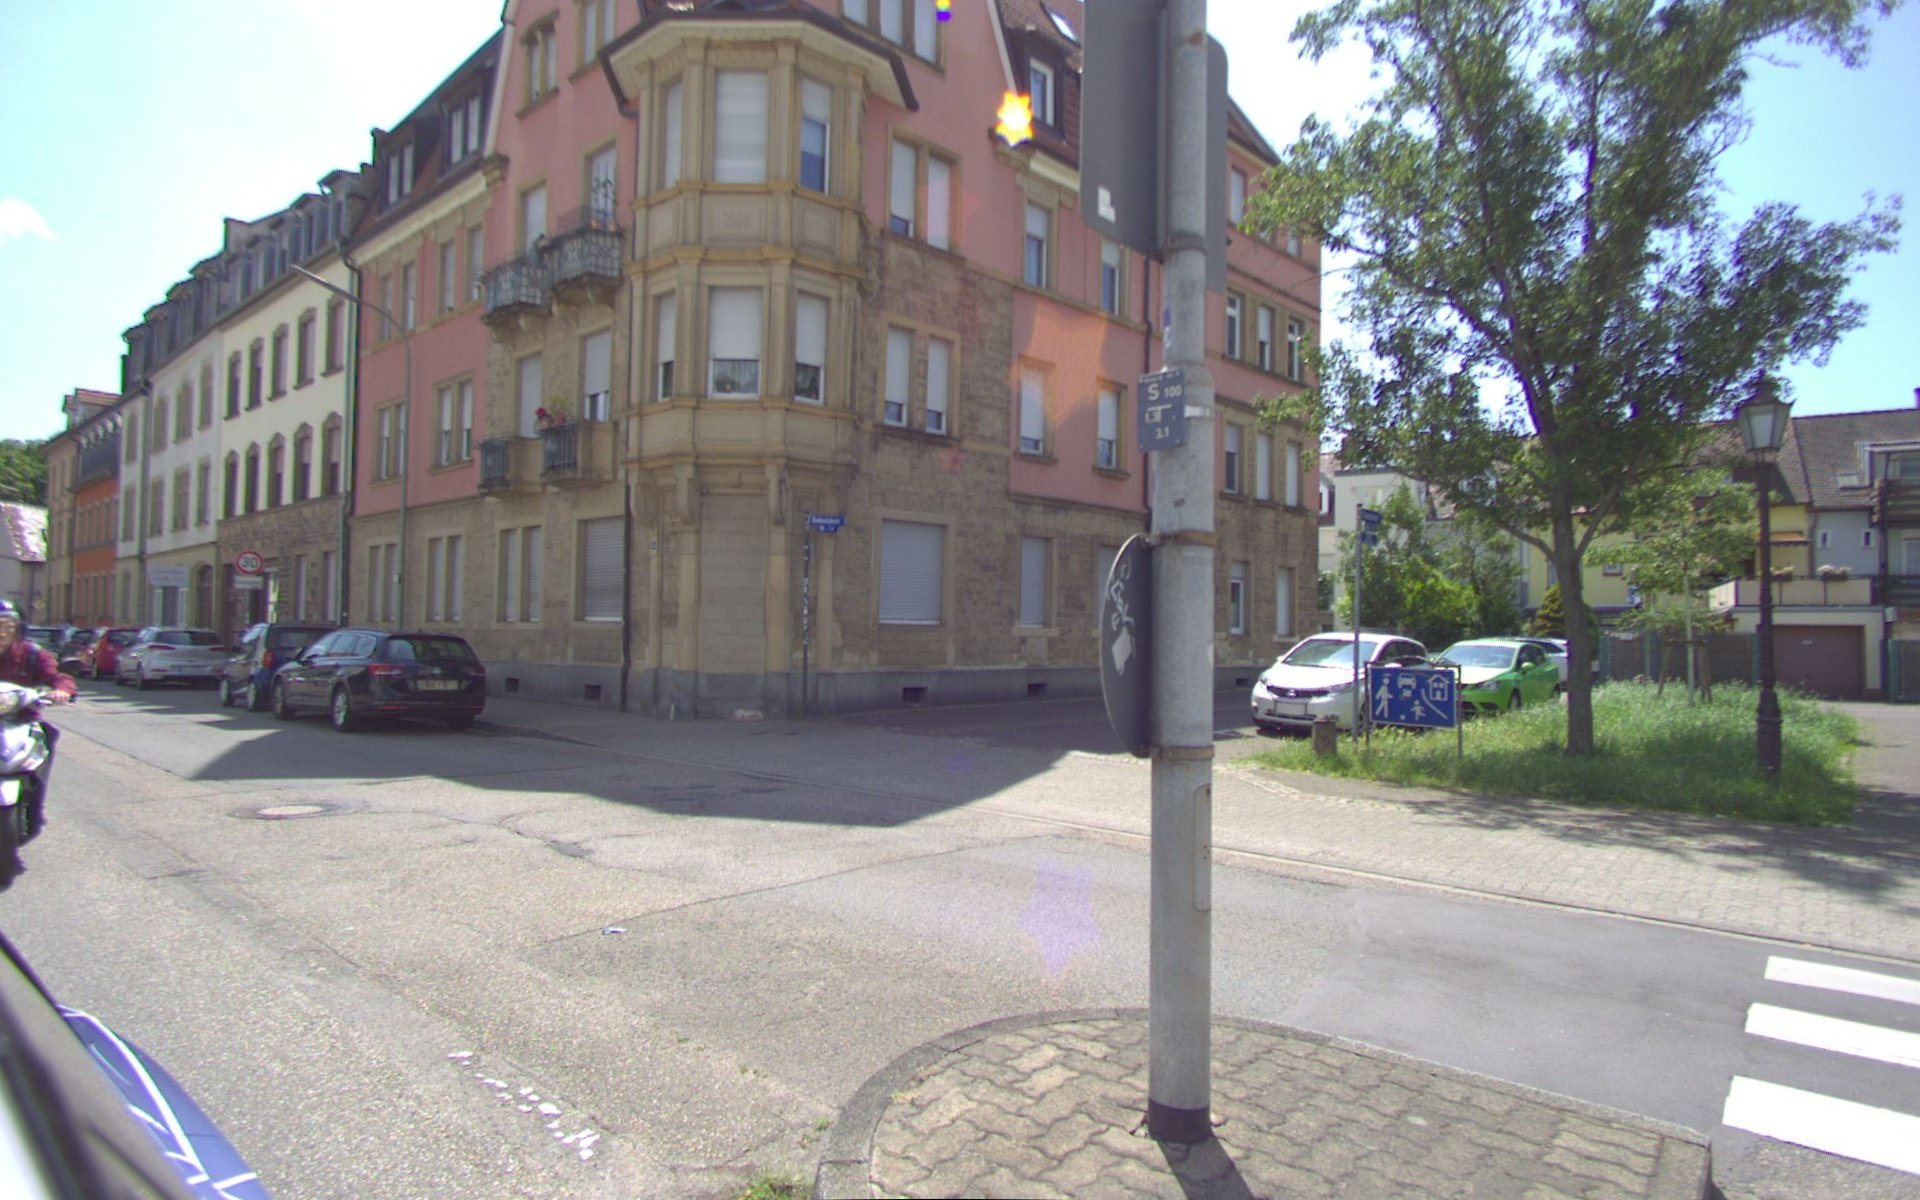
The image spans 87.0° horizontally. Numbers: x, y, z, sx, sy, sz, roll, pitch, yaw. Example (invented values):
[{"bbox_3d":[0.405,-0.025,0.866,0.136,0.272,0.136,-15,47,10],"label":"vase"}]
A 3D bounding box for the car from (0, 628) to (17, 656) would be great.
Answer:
[{"bbox_3d":[-50.484,2.172,52.567,3.854,1.453,1.710,-1,-3,40],"label":"car"}]

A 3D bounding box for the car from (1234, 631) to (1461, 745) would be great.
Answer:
[{"bbox_3d":[6.075,1.247,15.660,1.870,1.514,3.942,-2,-2,44],"label":"car"}]

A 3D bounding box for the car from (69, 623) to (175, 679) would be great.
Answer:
[{"bbox_3d":[-23.419,1.399,28.255,3.491,1.453,1.582,-1,-4,39],"label":"car"}]

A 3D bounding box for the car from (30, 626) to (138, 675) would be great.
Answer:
[{"bbox_3d":[-27.653,1.570,31.904,4.214,1.449,1.854,-1,-3,39],"label":"car"}]

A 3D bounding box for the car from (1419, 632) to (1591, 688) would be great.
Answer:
[{"bbox_3d":[15.872,1.694,29.571,4.275,1.466,1.652,-1,-1,34],"label":"car"}]

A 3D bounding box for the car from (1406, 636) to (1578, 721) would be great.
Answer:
[{"bbox_3d":[10.039,1.431,18.972,1.804,1.409,3.941,-2,-4,44],"label":"car"}]

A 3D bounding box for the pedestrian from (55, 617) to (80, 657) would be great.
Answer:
[{"bbox_3d":[-40.608,1.687,46.048,0.763,1.784,0.760,-1,-1,40],"label":"pedestrian"}]

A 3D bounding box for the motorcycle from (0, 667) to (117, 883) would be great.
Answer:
[{"bbox_3d":[-5.704,0.963,5.993,1.990,1.063,0.750,-1,-2,40],"label":"motorcycle"}]

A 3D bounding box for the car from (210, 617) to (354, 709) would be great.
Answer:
[{"bbox_3d":[-12.266,1.097,18.278,2.693,1.534,1.422,-1,-3,40],"label":"car"}]

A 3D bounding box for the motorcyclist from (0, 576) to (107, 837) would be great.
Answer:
[{"bbox_3d":[-5.700,0.603,6.013,1.019,1.451,0.783,-1,-2,40],"label":"motorcyclist"}]

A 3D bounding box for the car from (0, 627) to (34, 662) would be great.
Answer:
[{"bbox_3d":[-41.713,1.903,43.917,3.850,1.470,1.693,-1,-5,40],"label":"car"}]

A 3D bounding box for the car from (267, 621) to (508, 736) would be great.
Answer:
[{"bbox_3d":[-8.839,1.097,15.442,4.633,1.469,1.764,-1,-3,42],"label":"car"}]

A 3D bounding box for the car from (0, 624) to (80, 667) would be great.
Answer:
[{"bbox_3d":[-34.941,1.696,38.256,4.378,1.522,1.858,-1,-3,41],"label":"car"}]

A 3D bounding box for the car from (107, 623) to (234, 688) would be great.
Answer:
[{"bbox_3d":[-19.221,1.332,24.593,4.016,1.442,1.617,-1,-5,41],"label":"car"}]

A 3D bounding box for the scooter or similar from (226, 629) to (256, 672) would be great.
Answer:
[{"bbox_3d":[-21.237,1.487,29.880,1.318,1.230,0.371,-1,-4,41],"label":"scooter or similar"}]
